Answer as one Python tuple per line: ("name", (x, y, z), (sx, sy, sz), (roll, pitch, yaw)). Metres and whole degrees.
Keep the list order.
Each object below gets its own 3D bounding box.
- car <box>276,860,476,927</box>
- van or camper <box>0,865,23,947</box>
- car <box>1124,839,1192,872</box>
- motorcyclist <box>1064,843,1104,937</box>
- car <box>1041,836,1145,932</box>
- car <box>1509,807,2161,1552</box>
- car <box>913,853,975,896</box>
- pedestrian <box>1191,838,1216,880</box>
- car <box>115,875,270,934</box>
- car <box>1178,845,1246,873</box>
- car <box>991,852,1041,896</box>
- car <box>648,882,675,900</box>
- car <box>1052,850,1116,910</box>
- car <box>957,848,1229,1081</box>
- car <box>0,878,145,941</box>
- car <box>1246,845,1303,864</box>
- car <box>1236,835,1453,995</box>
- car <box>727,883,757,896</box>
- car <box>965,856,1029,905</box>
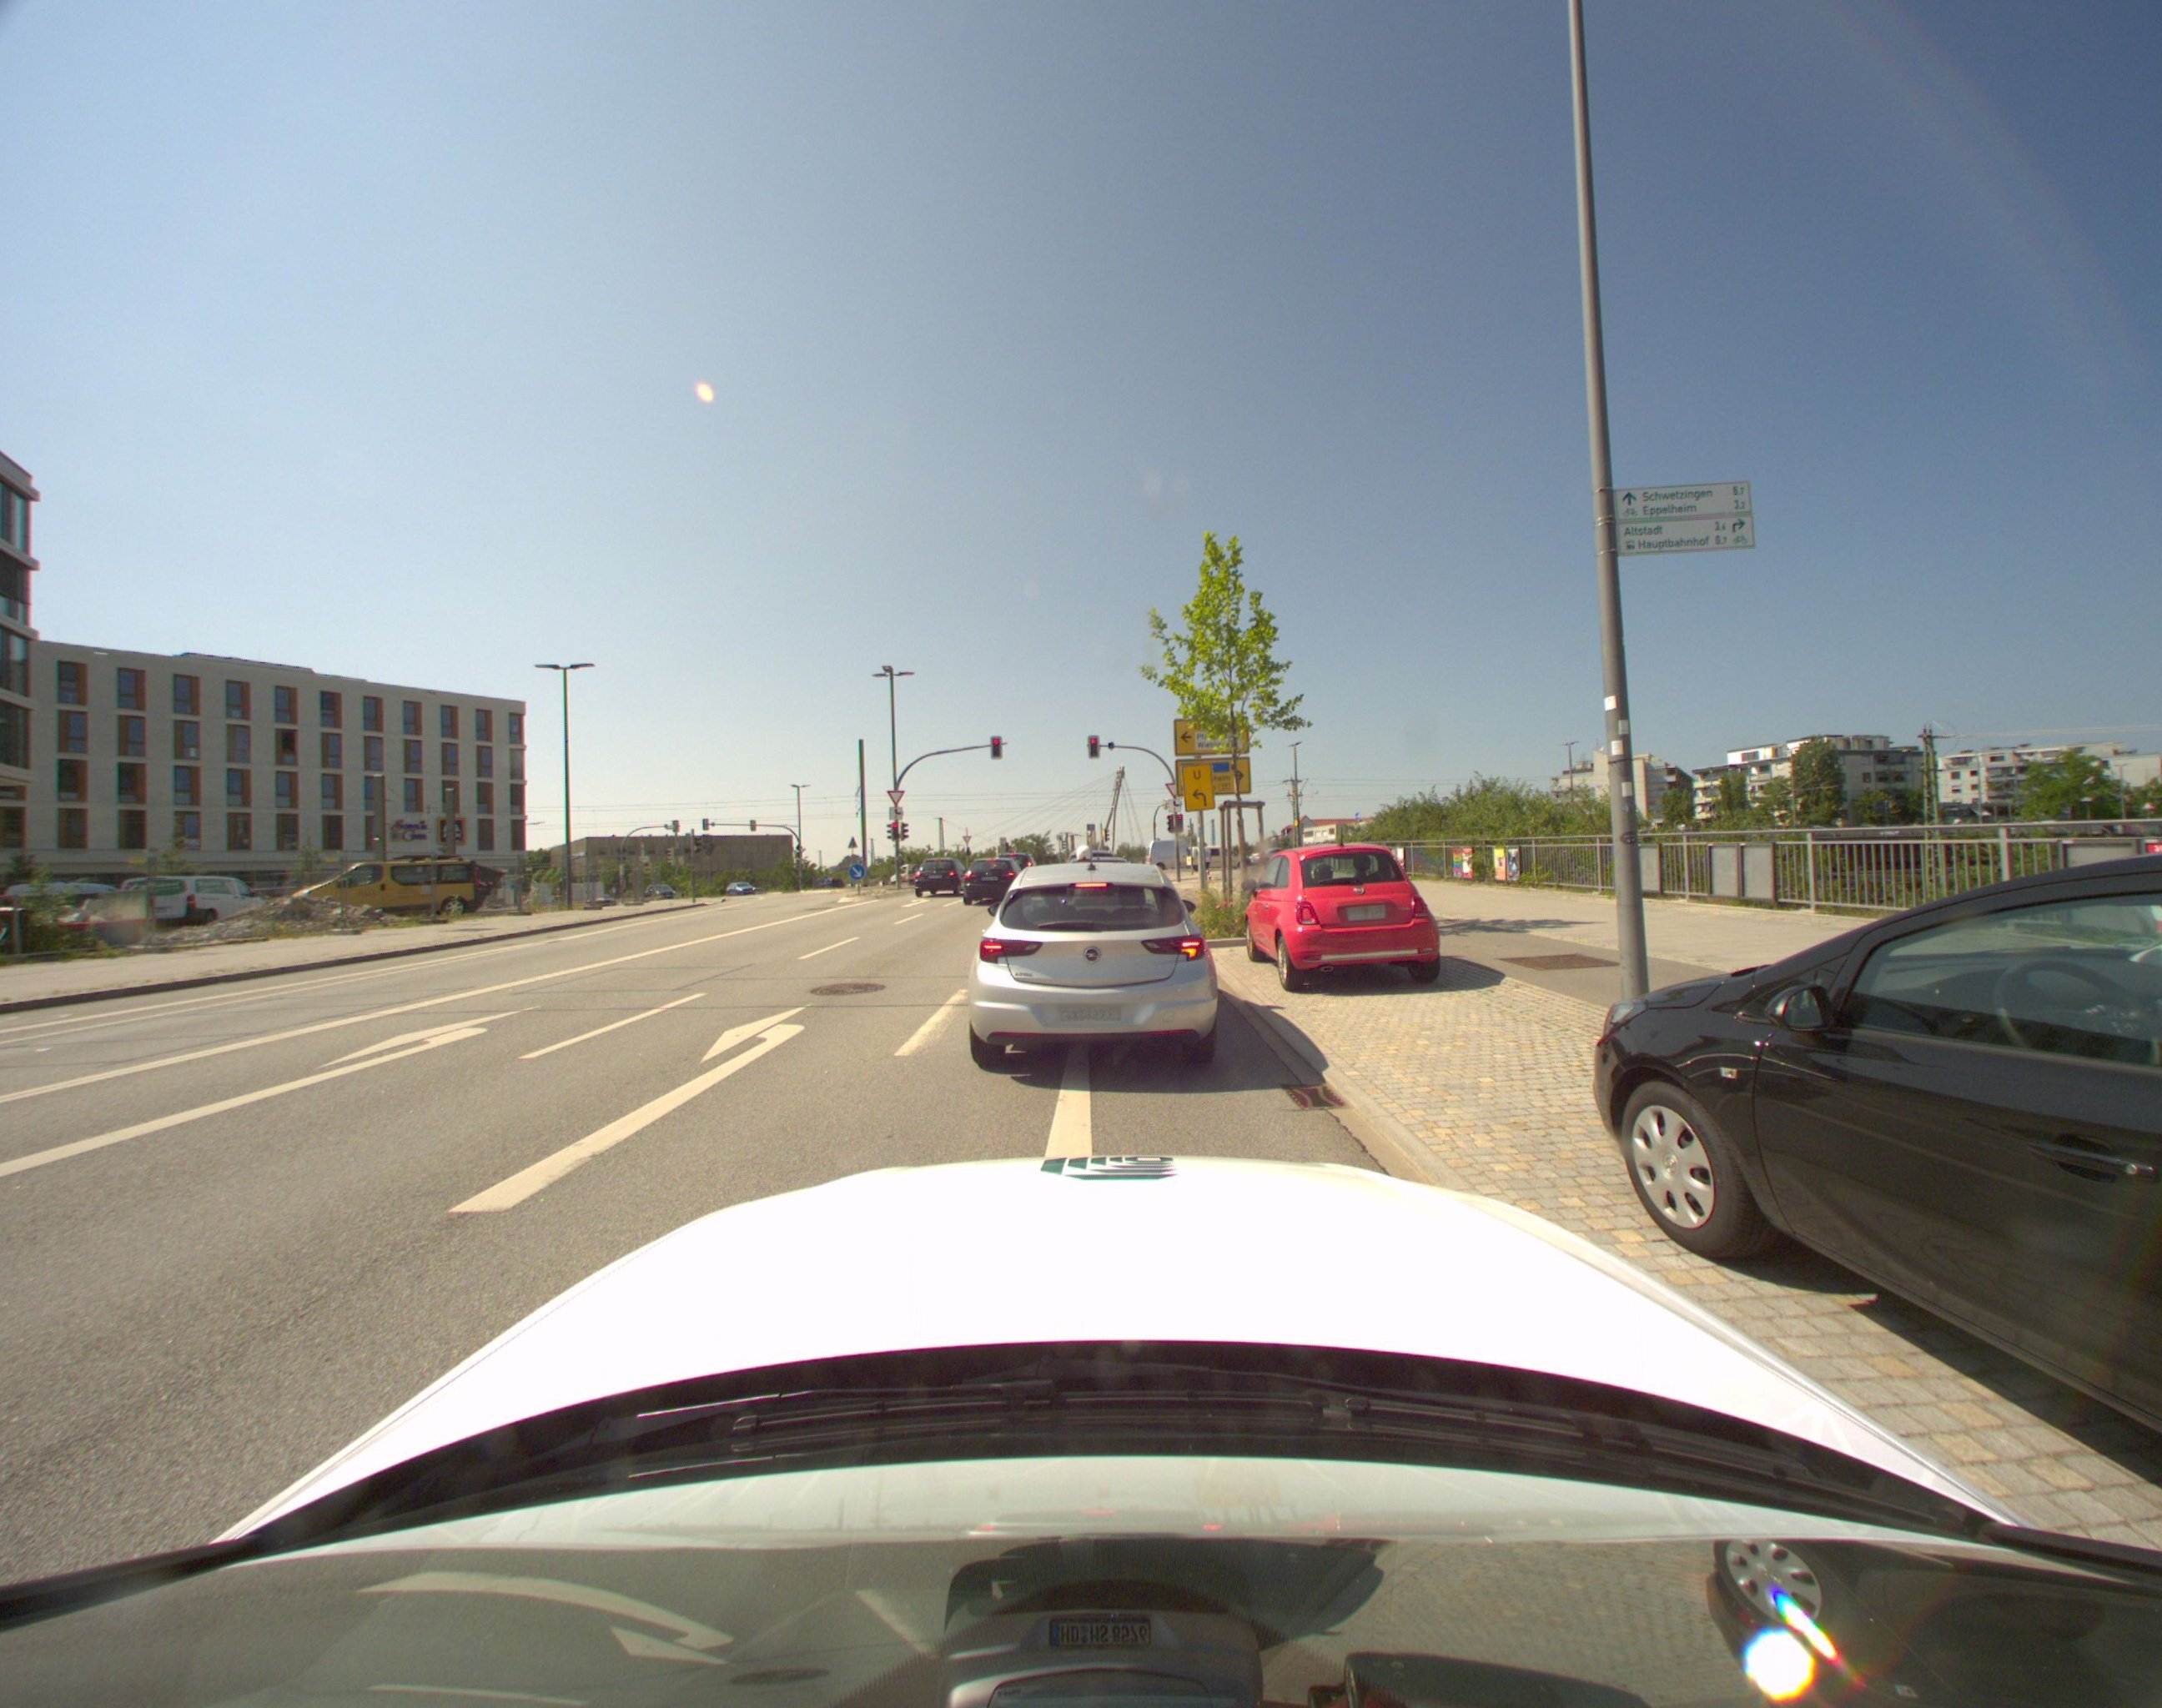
("car", (-22.737, 1.191, 26.432), (1.964, 1.962, 4.655), (-1, -1, 40))
("van or camper", (-36.501, 1.718, 25.374), (2.318, 2.735, 4.944), (0, -1, -26))
("car", (5.905, 0.114, 62.974), (4.993, 2.376, 1.780), (-1, -1, -6))
("motorcyclist", (0.052, 0.542, 12.437), (0.579, 1.389, 0.707), (0, -1, 1))
("car", (0.301, 0.561, 17.754), (1.986, 1.820, 4.404), (0, 0, 2))
("car", (2.883, 0.590, 1.946), (1.654, 1.426, 4.001), (-3, -1, 2))
("car", (-5.197, 0.766, 31.311), (1.591, 1.547, 3.764), (0, -1, 2))
("pedestrian", (5.365, 0.220, 35.707), (0.802, 1.836, 0.641), (-1, -1, -42))
("car", (-31.034, 1.690, 28.669), (1.873, 1.774, 4.619), (0, -1, -22))
("car", (9.716, 0.347, 60.566), (4.697, 2.014, 1.996), (0, -1, -7))
("car", (-2.485, 0.756, 31.820), (1.644, 1.615, 3.819), (0, -1, 0))
("car", (-38.557, 3.366, 74.863), (1.686, 1.476, 3.368), (-2, 0, -37))
("car", (0.152, 0.699, 23.972), (1.717, 1.563, 4.002), (0, 1, 2))
("car", (0.061, 0.722, 7.234), (1.738, 1.478, 3.998), (0, -1, -1))
("car", (-33.694, 1.772, 27.198), (1.794, 1.857, 3.818), (0, -1, -26))
("car", (15.472, 0.033, 65.173), (3.988, 1.483, 1.993), (0, -1, -11))
("car", (2.934, 0.606, 9.776), (1.603, 1.496, 3.355), (-4, 0, 3))
("car", (-34.272, 3.588, 82.292), (1.831, 1.331, 3.954), (0, -2, -38))
("car", (-2.604, 0.782, 25.892), (1.569, 1.434, 3.786), (0, -1, 1))
